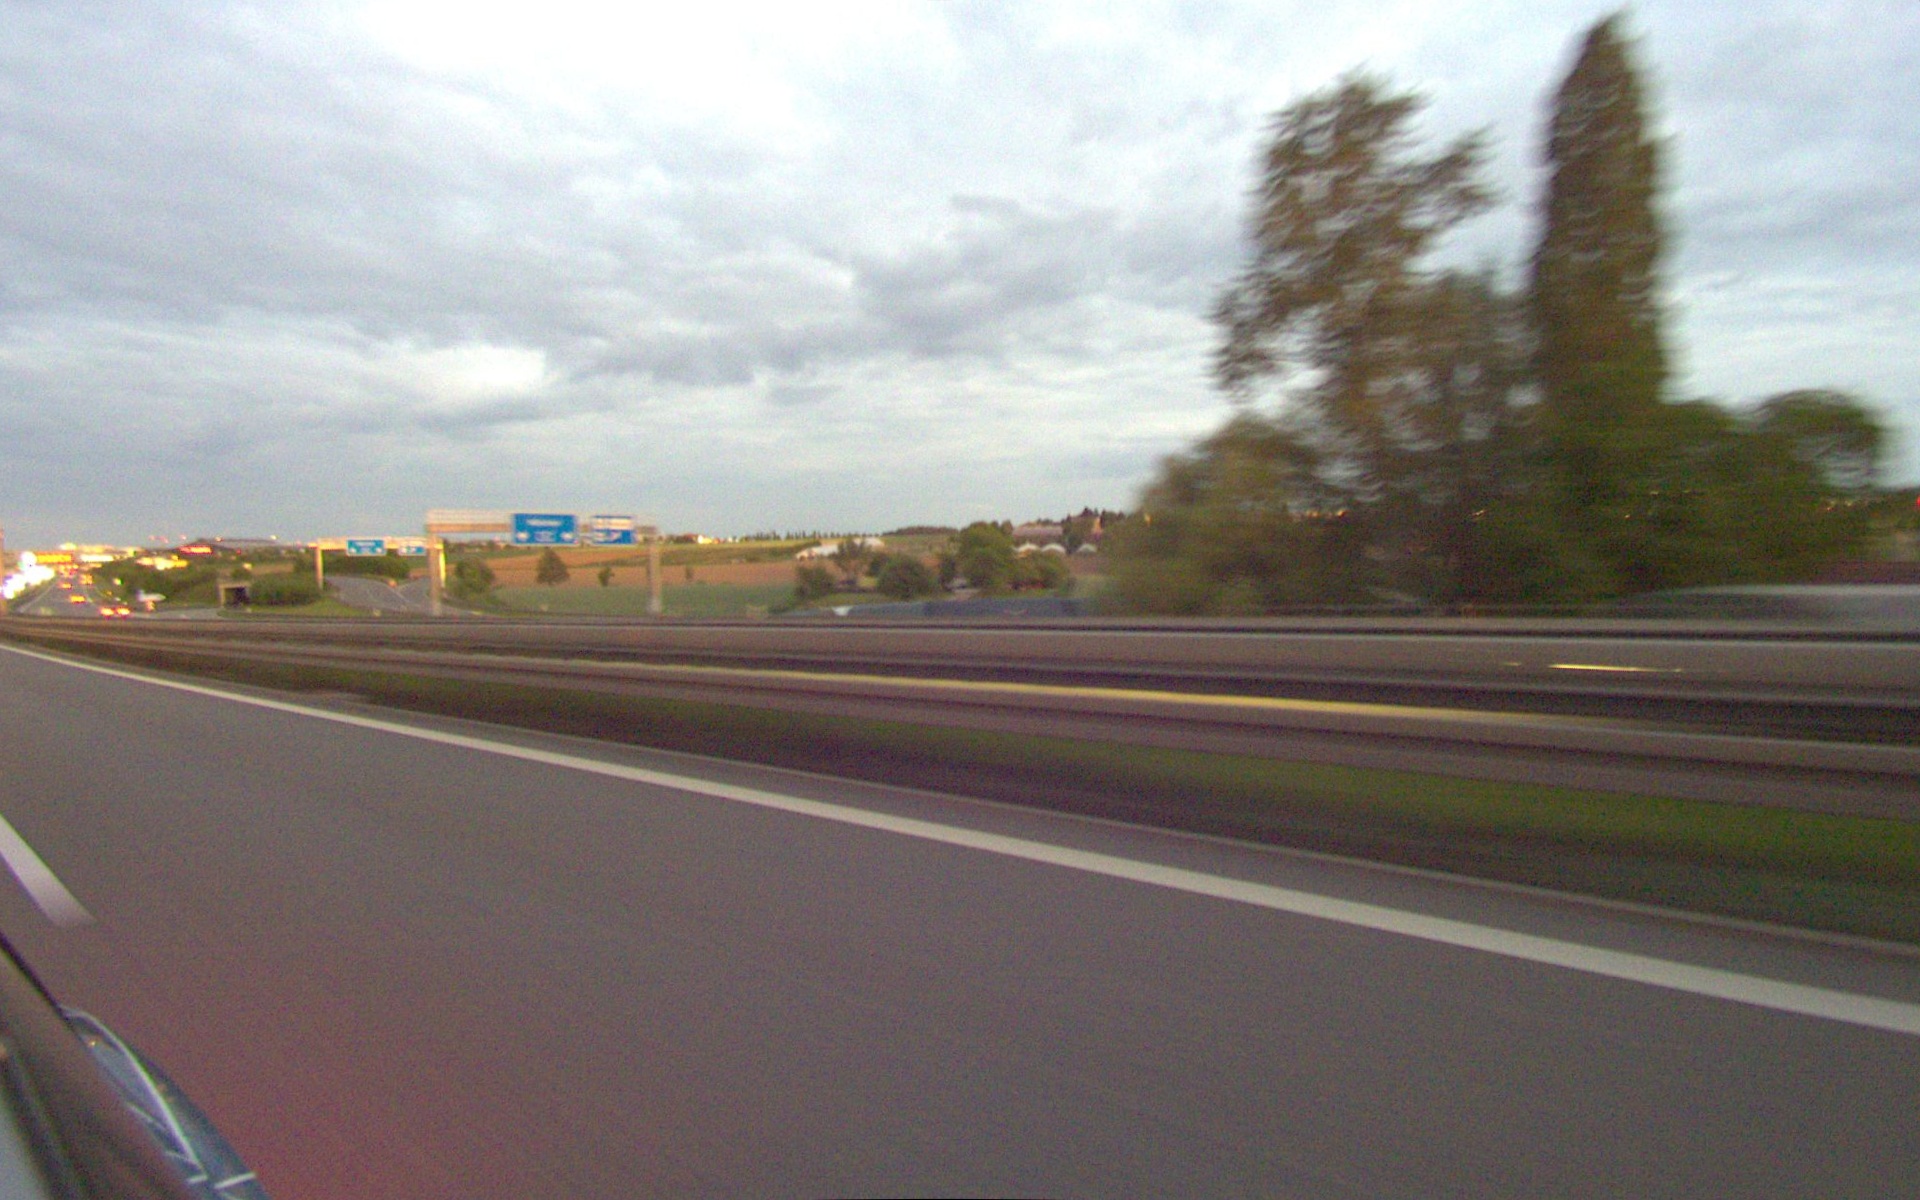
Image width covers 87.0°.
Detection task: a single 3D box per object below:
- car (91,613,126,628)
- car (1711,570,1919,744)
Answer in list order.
[{"bbox_3d":[-85.478,2.050,101.594,4.863,1.368,1.973,-1,0,42],"label":"car"},{"bbox_3d":[9.073,0.442,8.515,4.325,1.414,1.974,-1,0,40],"label":"car"}]
